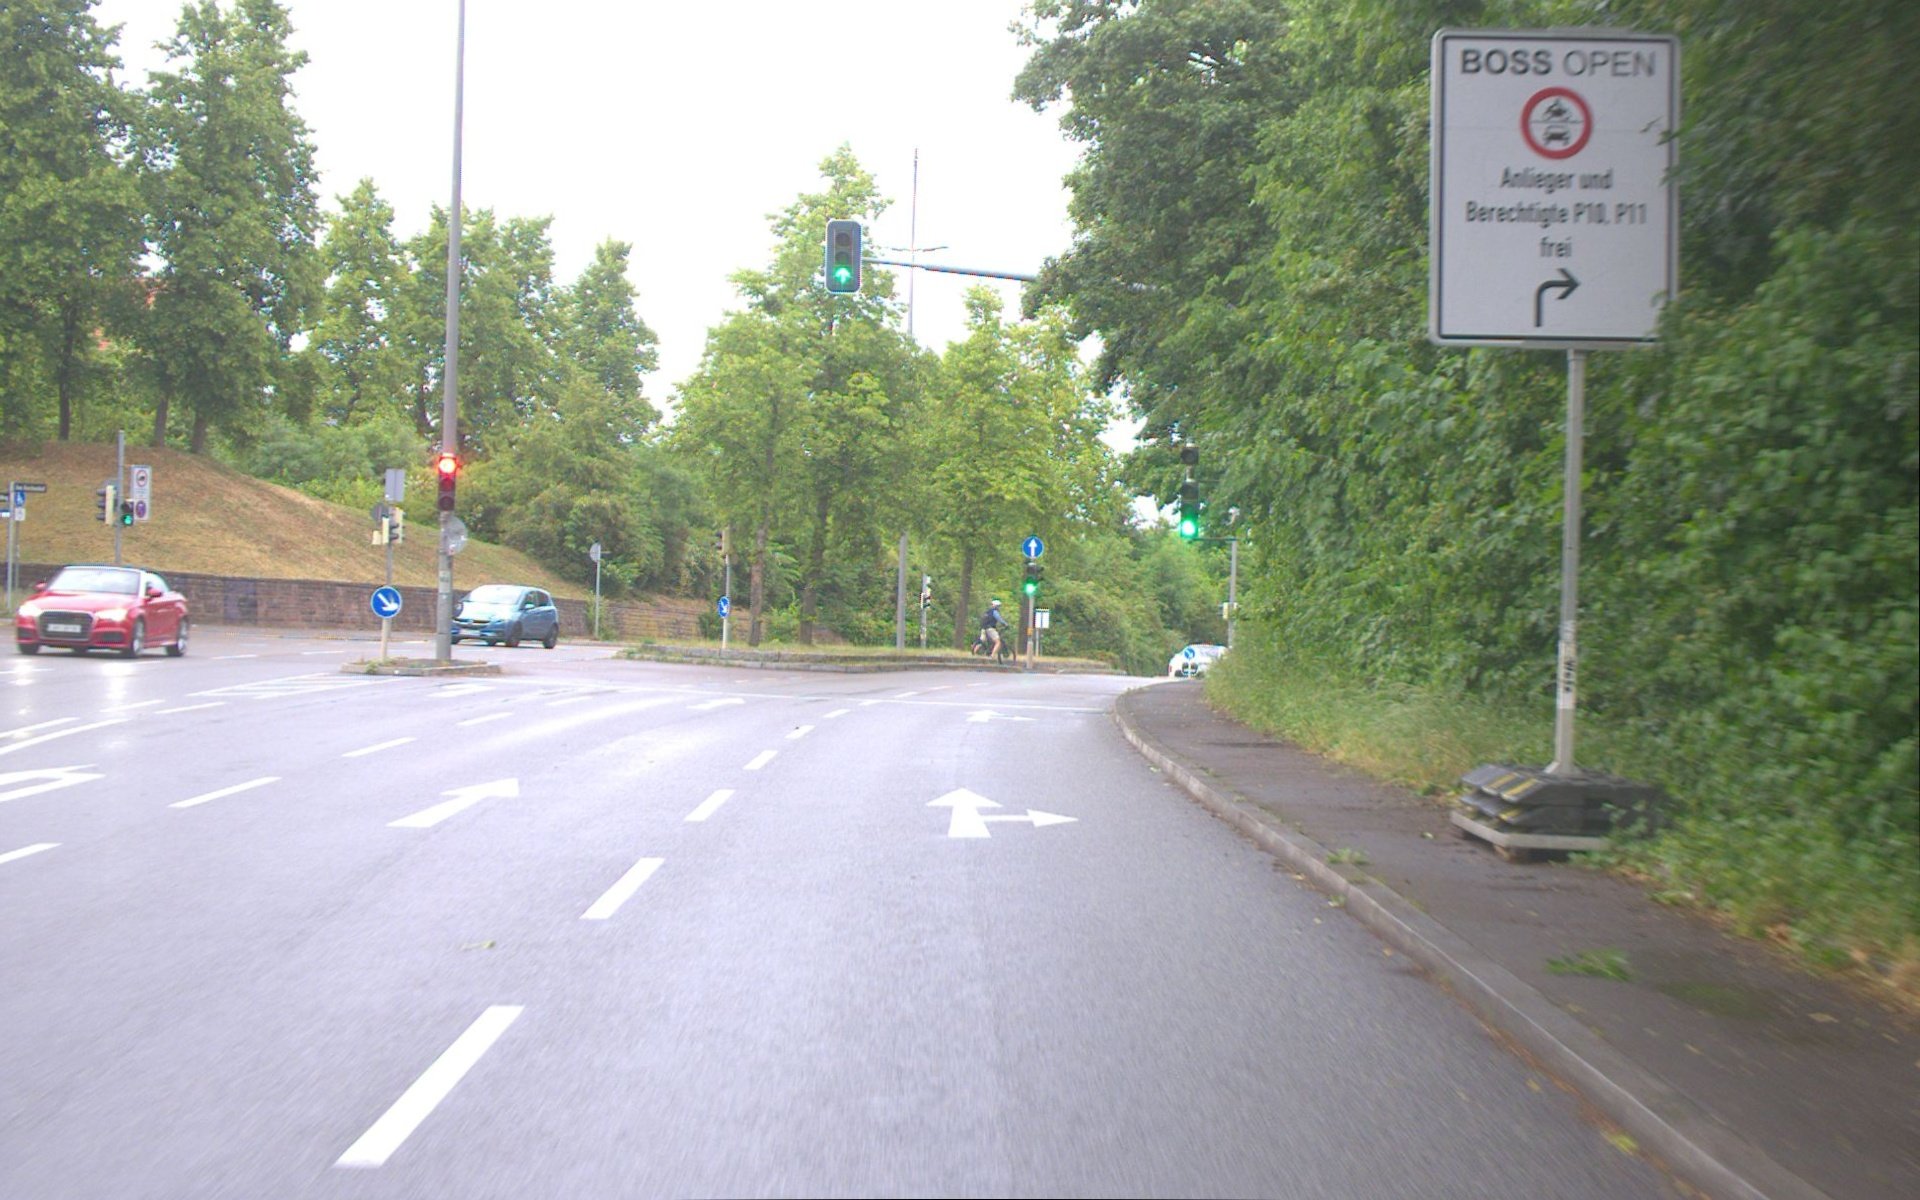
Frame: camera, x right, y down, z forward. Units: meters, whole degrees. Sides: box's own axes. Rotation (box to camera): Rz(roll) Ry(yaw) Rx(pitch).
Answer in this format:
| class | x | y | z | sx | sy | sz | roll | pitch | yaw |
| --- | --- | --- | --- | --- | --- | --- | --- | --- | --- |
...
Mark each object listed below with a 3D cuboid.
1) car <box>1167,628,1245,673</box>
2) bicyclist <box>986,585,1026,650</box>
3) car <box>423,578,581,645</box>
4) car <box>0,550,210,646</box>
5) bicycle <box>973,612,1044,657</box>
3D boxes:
| class | x | y | z | sx | sy | sz | roll | pitch | yaw |
| --- | --- | --- | --- | --- | --- | --- | --- | --- | --- |
| car | 10.143 | 2.094 | 141.415 | 1.947 | 1.630 | 5.000 | 3 | -2 | 19 |
| bicyclist | 1.280 | 0.496 | 95.384 | 0.799 | 1.746 | 0.725 | 5 | -5 | -42 |
| car | -10.816 | 0.250 | 81.465 | 1.996 | 1.485 | 3.932 | 1 | 1 | 23 |
| car | -13.009 | -0.064 | 52.523 | 1.875 | 1.369 | 4.384 | 1 | 1 | 4 |
| bicycle | 1.355 | 0.971 | 95.485 | 2.134 | 1.139 | 0.554 | 4 | -1 | -42 |
